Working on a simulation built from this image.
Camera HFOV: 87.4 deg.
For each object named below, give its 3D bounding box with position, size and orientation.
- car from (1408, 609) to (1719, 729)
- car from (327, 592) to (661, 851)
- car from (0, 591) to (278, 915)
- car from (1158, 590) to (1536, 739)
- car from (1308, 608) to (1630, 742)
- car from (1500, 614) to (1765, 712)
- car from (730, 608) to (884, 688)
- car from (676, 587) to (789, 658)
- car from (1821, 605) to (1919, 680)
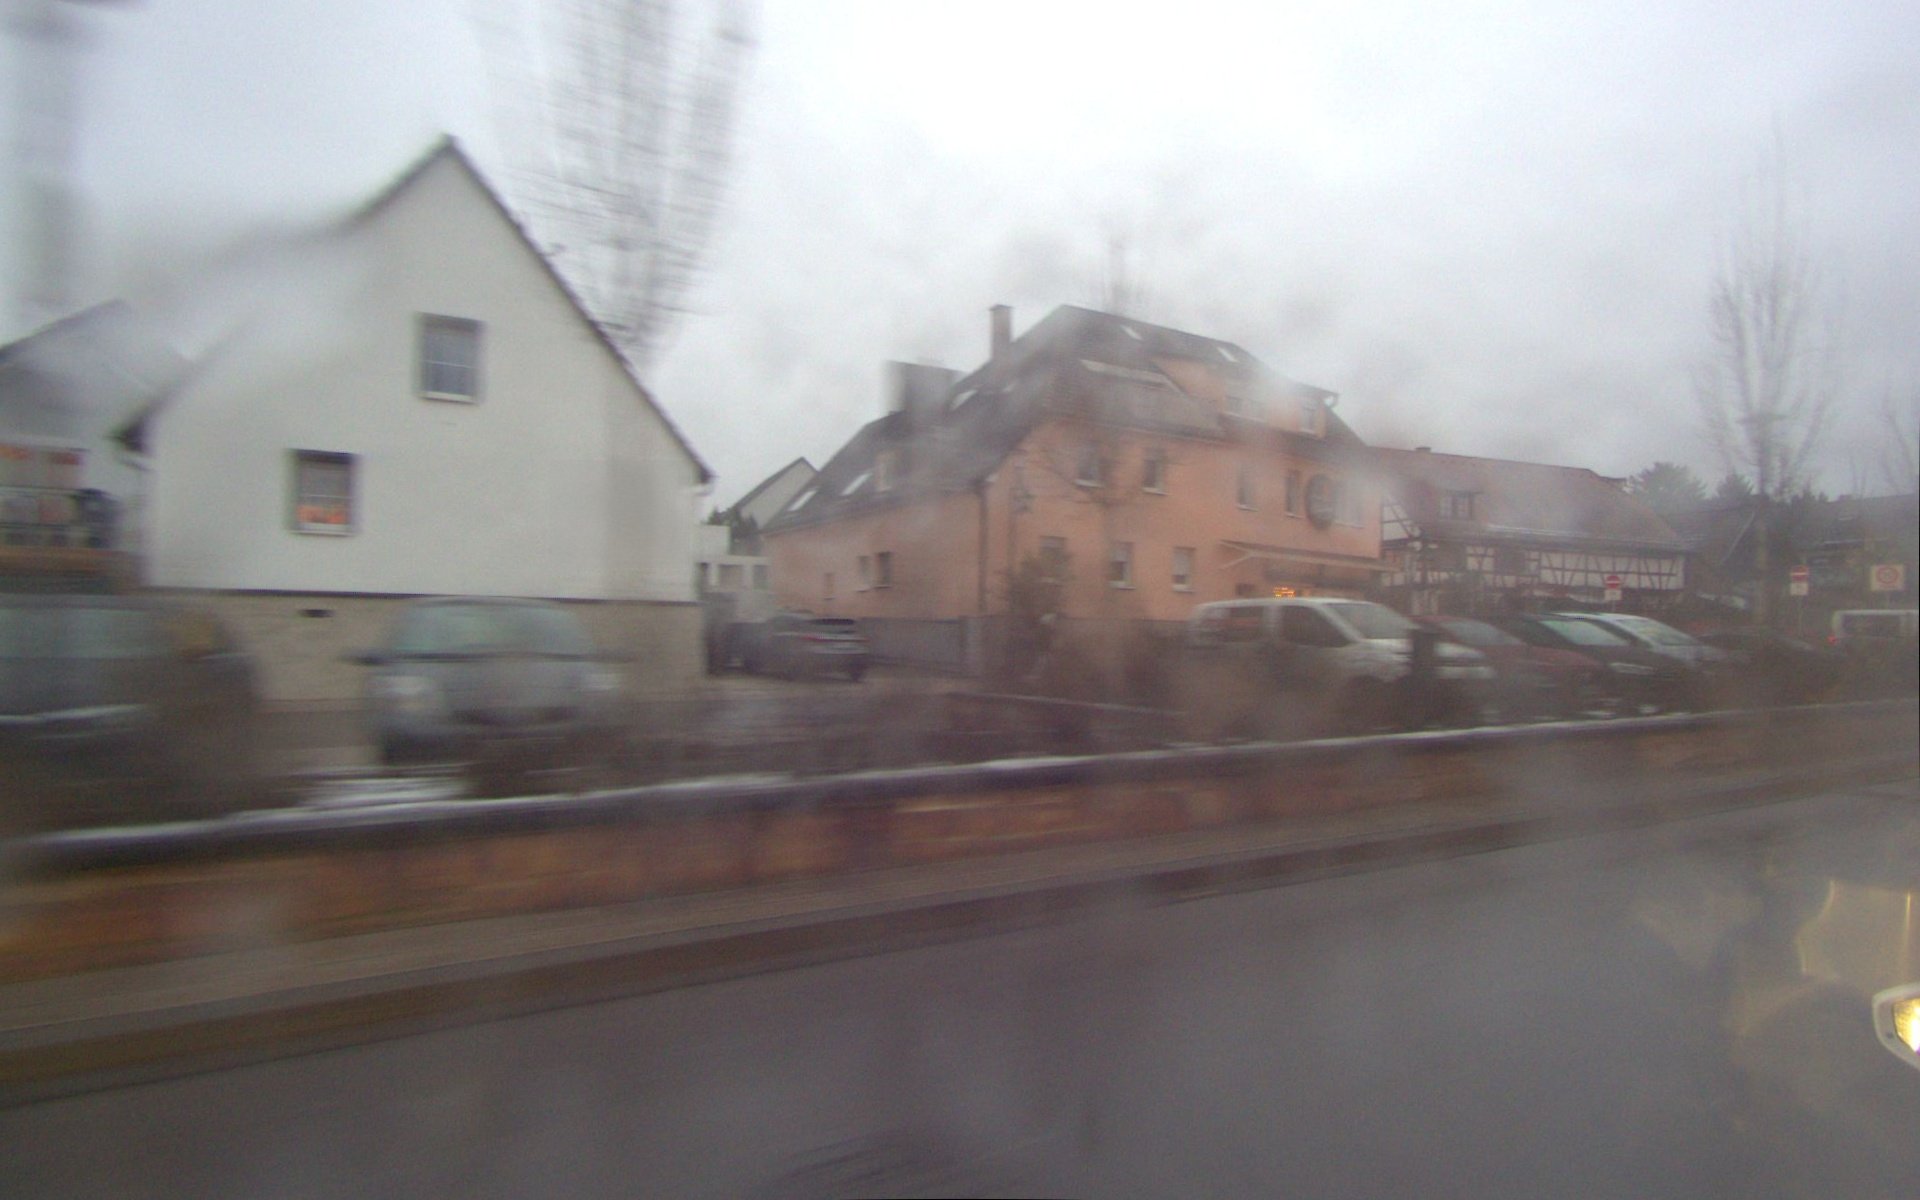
[{"bbox_3d":[9.663,1.018,16.462,1.636,1.666,4.153,2,-1,-26],"label":"car"},{"bbox_3d":[-3.855,0.767,8.242,1.856,1.517,4.111,4,-1,-28],"label":"car"},{"bbox_3d":[-5.944,0.778,6.849,1.567,1.629,4.078,2,-1,-27],"label":"car"},{"bbox_3d":[5.095,0.750,13.899,1.979,1.689,4.599,2,-1,-33],"label":"car"},{"bbox_3d":[7.440,1.005,15.157,1.657,1.674,4.183,2,0,-26],"label":"car"},{"bbox_3d":[11.809,1.054,17.880,1.687,1.466,3.532,2,0,-26],"label":"car"},{"bbox_3d":[-3.603,1.050,23.072,1.979,1.518,4.060,4,-1,-33],"label":"car"},{"bbox_3d":[-6.158,0.586,26.998,1.587,1.680,3.060,4,-1,-42],"label":"car"},{"bbox_3d":[25.316,1.152,25.299,1.684,1.842,5.393,2,1,-17],"label":"car"}]
